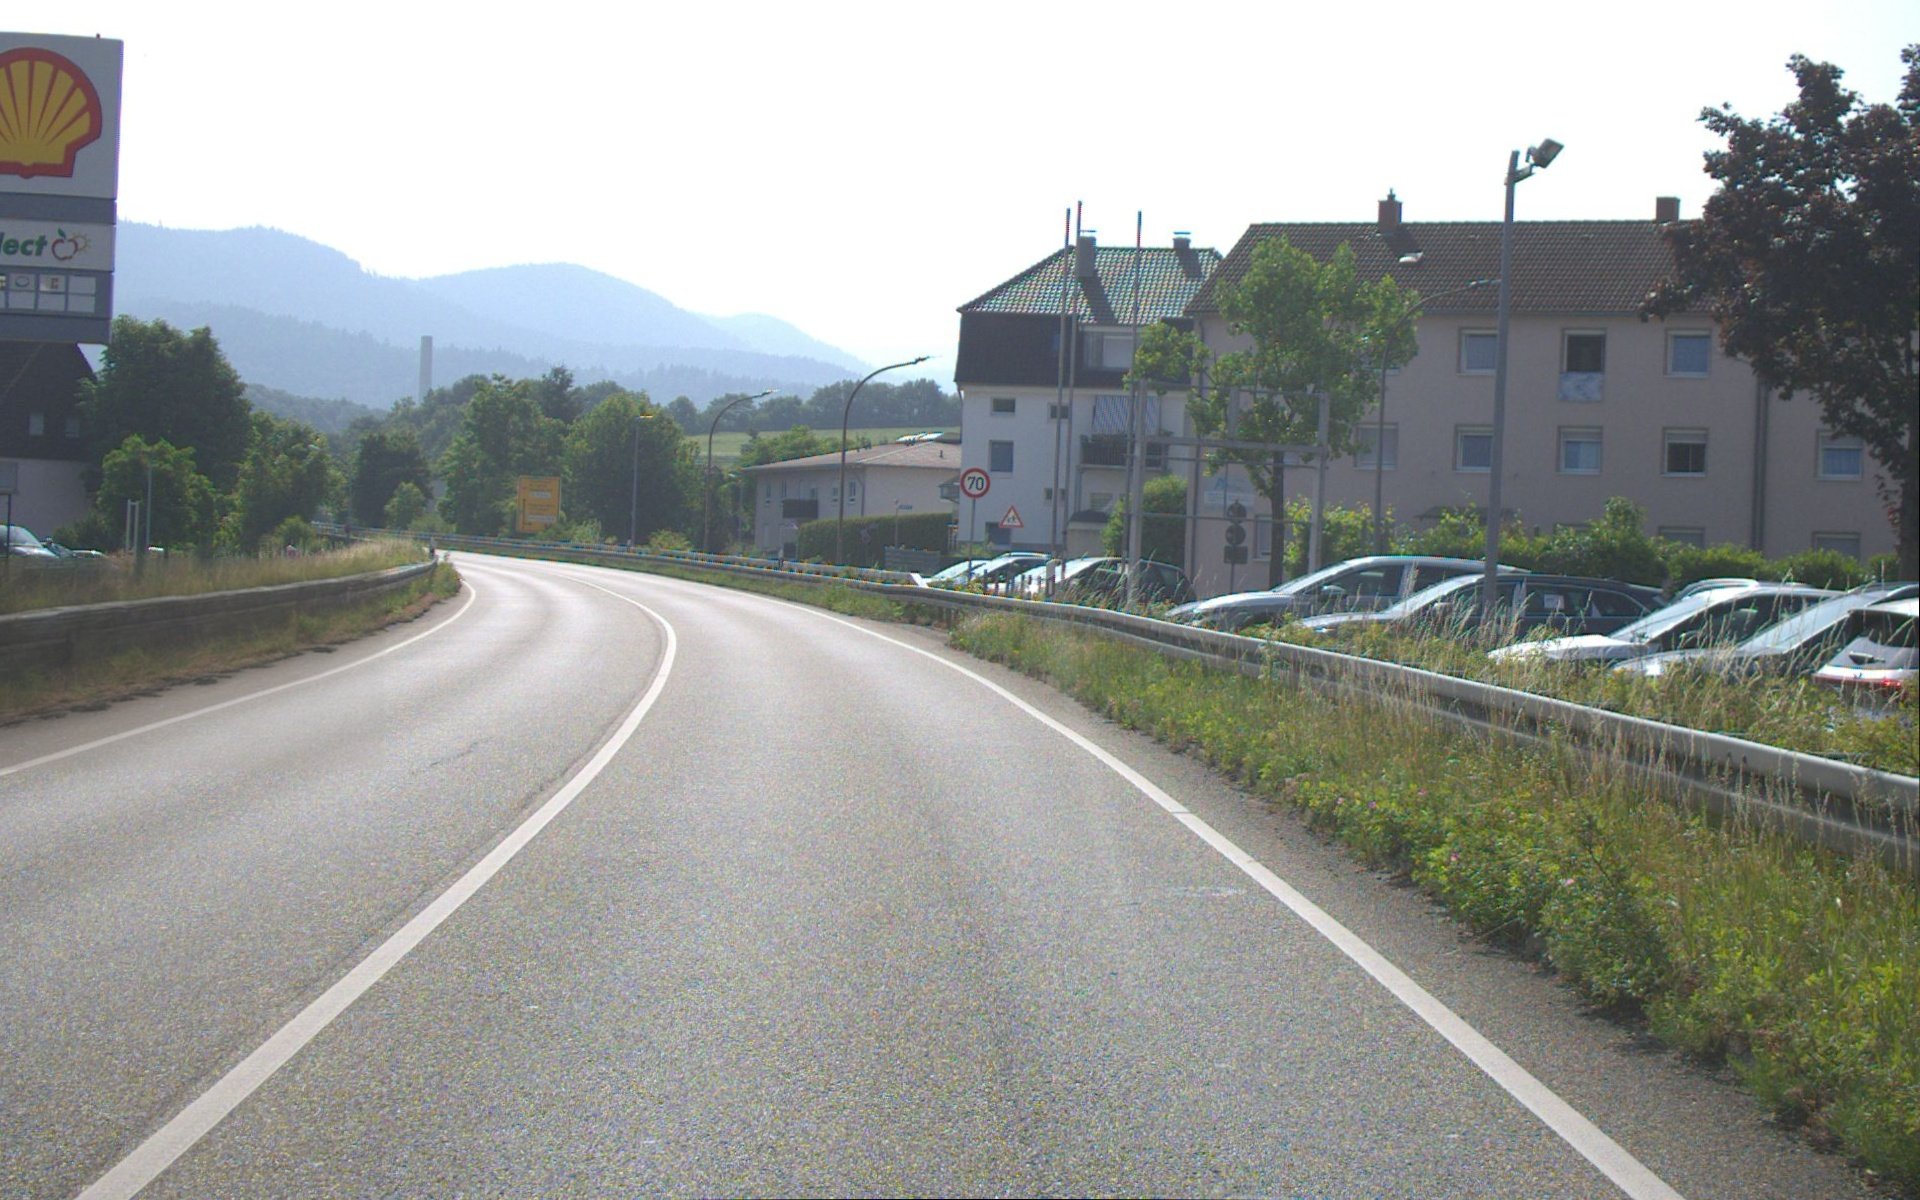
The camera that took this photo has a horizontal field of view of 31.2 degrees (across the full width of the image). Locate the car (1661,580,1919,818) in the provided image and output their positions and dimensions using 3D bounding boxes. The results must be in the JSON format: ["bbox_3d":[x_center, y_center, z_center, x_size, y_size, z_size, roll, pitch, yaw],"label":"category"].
[{"bbox_3d":[7.010,0.676,23.922,3.846,1.562,1.807,1,1,-1],"label":"car"}]

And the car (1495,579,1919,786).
[{"bbox_3d":[6.339,0.628,26.908,3.987,1.516,1.698,1,1,-1],"label":"car"}]

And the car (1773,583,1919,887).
[{"bbox_3d":[6.680,0.733,18.874,3.987,1.574,1.778,1,1,0],"label":"car"}]

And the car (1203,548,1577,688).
[{"bbox_3d":[5.284,0.204,42.682,4.319,1.634,2.140,1,1,-1],"label":"car"}]

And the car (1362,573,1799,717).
[{"bbox_3d":[6.615,0.469,36.880,4.319,1.439,1.629,1,1,-4],"label":"car"}]
